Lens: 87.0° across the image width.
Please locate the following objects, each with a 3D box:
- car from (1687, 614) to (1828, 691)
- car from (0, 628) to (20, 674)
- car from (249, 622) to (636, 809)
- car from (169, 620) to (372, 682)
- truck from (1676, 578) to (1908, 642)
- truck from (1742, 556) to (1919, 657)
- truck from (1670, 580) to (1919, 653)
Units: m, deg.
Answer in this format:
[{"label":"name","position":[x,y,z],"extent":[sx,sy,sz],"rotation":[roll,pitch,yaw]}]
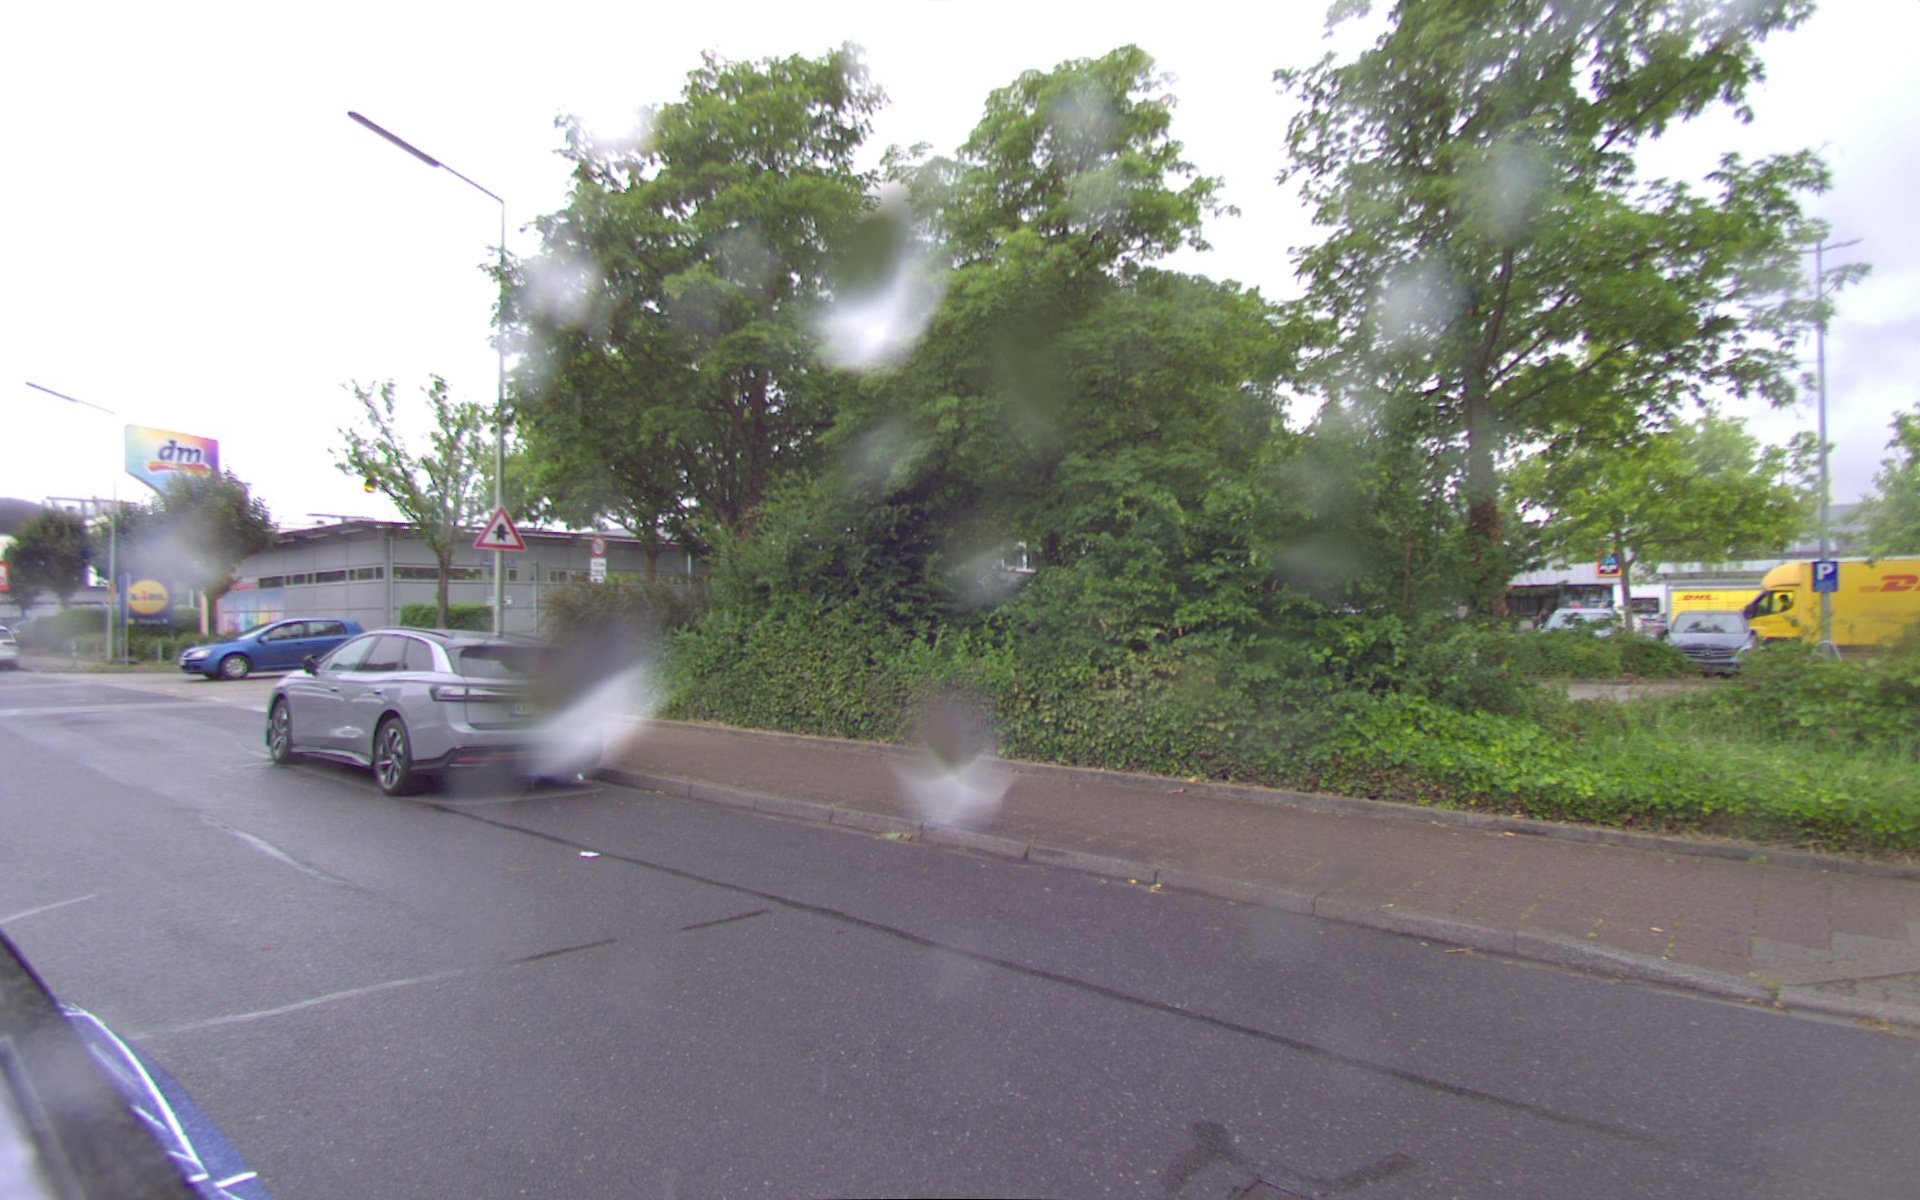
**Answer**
[{"label":"car","position":[16.904,1.039,21.383],"extent":[2.000,1.431,3.943],"rotation":[-2,-1,43]},{"label":"car","position":[-32.244,1.636,32.967],"extent":[4.488,1.445,1.817],"rotation":[-1,-3,40]},{"label":"car","position":[-5.575,1.058,10.614],"extent":[4.743,1.540,1.791],"rotation":[-1,-5,39]},{"label":"car","position":[-17.447,1.258,25.771],"extent":[1.734,1.452,3.947],"rotation":[-2,-2,39]},{"label":"truck","position":[28.917,0.384,35.514],"extent":[6.125,2.076,1.975],"rotation":[-1,-2,38]},{"label":"truck","position":[25.159,0.190,27.230],"extent":[6.394,2.621,1.972],"rotation":[-1,-2,42]},{"label":"truck","position":[26.073,0.535,31.766],"extent":[6.125,2.110,1.975],"rotation":[-1,-1,38]}]
